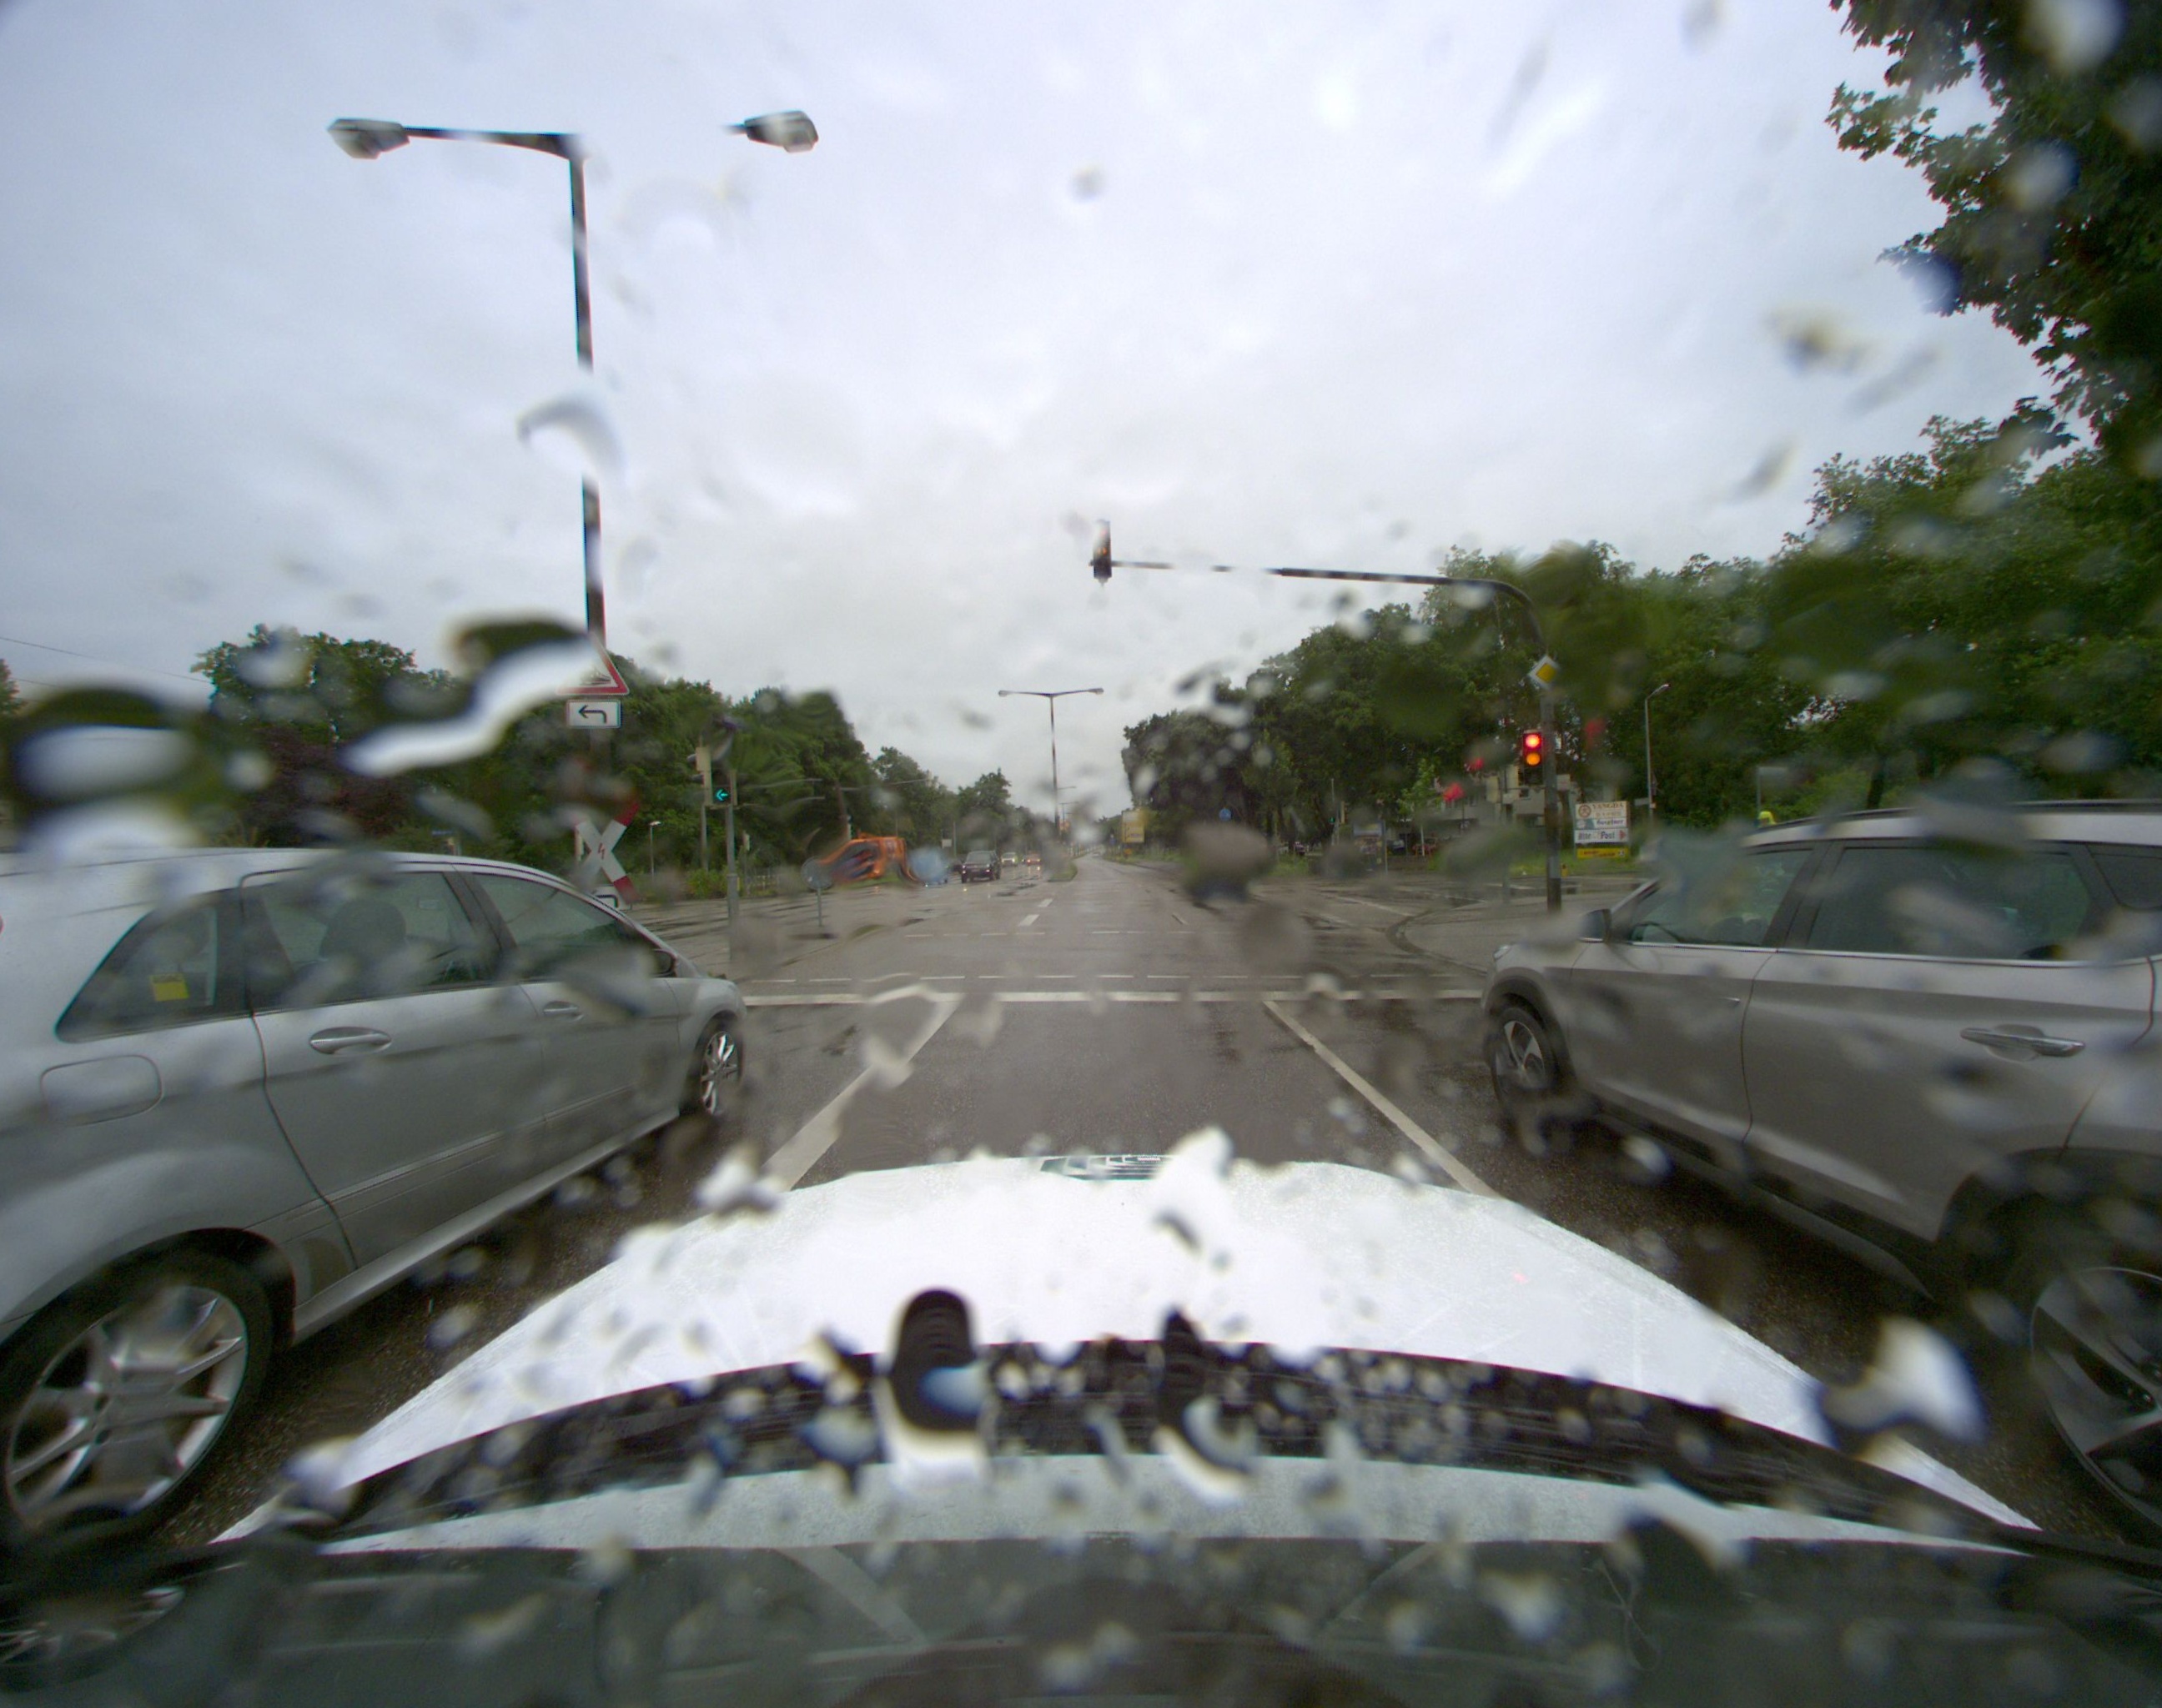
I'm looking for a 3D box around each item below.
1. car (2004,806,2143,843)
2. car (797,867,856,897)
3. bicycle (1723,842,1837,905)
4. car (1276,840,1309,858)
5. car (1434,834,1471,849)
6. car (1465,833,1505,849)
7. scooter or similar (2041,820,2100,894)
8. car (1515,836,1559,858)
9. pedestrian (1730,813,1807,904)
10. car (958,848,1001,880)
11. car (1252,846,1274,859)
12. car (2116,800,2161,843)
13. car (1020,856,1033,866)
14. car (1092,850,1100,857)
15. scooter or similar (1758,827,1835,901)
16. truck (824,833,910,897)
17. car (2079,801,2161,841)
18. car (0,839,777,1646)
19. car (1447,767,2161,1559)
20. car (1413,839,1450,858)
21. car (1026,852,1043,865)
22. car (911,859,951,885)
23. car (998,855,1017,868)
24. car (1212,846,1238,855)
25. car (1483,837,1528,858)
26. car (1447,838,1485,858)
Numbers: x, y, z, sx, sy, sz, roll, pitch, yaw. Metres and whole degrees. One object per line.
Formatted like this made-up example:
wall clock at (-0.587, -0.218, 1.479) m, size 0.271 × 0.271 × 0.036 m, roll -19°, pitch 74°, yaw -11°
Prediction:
car at (45.263, -1.343, 37.190) m, size 4.582 × 1.583 × 1.921 m, roll 0°, pitch -1°, yaw -8°
car at (-15.352, 1.644, 49.331) m, size 1.986 × 1.709 × 4.529 m, roll 0°, pitch 0°, yaw 2°
bicycle at (13.667, 0.372, 15.938) m, size 1.660 × 1.038 × 0.786 m, roll -6°, pitch 0°, yaw -12°
car at (21.740, -0.524, 84.003) m, size 1.988 × 1.717 × 4.876 m, roll -3°, pitch 0°, yaw -1°
car at (33.609, -1.118, 73.784) m, size 1.568 × 1.316 × 3.699 m, roll -1°, pitch 0°, yaw -2°
car at (36.643, -1.145, 74.010) m, size 1.579 × 1.385 × 3.998 m, roll 0°, pitch 0°, yaw -1°
scooter or similar at (16.197, 0.044, 13.341) m, size 0.284 × 1.176 × 0.561 m, roll -2°, pitch 0°, yaw 8°
car at (32.215, -0.481, 57.510) m, size 3.772 × 1.449 × 1.584 m, roll 0°, pitch -1°, yaw -42°
pedestrian at (13.410, 0.082, 15.900) m, size 0.667 × 1.678 × 0.786 m, roll -6°, pitch 0°, yaw -11°
car at (-6.189, 0.574, 50.242) m, size 1.799 × 1.773 × 5.089 m, roll -3°, pitch 0°, yaw 1°
car at (21.736, -0.156, 97.352) m, size 1.632 × 1.486 × 4.071 m, roll 0°, pitch 0°, yaw -1°
car at (44.110, -1.281, 31.944) m, size 4.570 × 1.630 × 1.926 m, roll 0°, pitch -1°, yaw 0°
car at (-9.214, 1.178, 137.057) m, size 1.700 × 1.641 × 4.332 m, roll -4°, pitch 0°, yaw 1°
car at (3.736, -0.141, 200.622) m, size 1.900 × 1.515 × 4.002 m, roll -2°, pitch 0°, yaw 2°
scooter or similar at (12.329, 0.170, 14.041) m, size 0.952 × 1.229 × 0.322 m, roll -2°, pitch 0°, yaw 5°
truck at (-15.178, 0.774, 58.817) m, size 3.373 × 4.167 × 10.407 m, roll 0°, pitch 0°, yaw 1°
car at (45.356, -1.362, 34.417) m, size 4.582 × 1.583 × 1.921 m, roll 0°, pitch -1°, yaw -8°
car at (-2.910, 0.770, 3.285) m, size 1.730 × 1.544 × 4.014 m, roll -2°, pitch 0°, yaw 1°
car at (3.163, 0.626, 2.936) m, size 1.877 × 1.610 × 4.196 m, roll -1°, pitch 0°, yaw 1°
car at (26.963, -0.414, 62.600) m, size 1.648 × 1.449 × 3.775 m, roll -1°, pitch -1°, yaw 39°
car at (-6.009, 0.603, 106.252) m, size 1.795 × 1.569 × 4.428 m, roll -4°, pitch -1°, yaw 0°
car at (-9.016, 1.055, 49.251) m, size 1.636 × 1.427 × 3.998 m, roll -4°, pitch 0°, yaw -1°
car at (-9.489, 0.938, 105.237) m, size 1.887 × 1.611 × 4.502 m, roll -2°, pitch 0°, yaw 2°
car at (27.351, -0.736, 154.442) m, size 4.562 × 1.645 × 1.997 m, roll 0°, pitch -1°, yaw -5°
car at (30.696, -0.462, 58.839) m, size 3.772 × 1.449 × 1.650 m, roll 0°, pitch -1°, yaw -42°
car at (28.927, -0.436, 61.151) m, size 1.648 × 1.449 × 3.775 m, roll -1°, pitch -1°, yaw 39°
